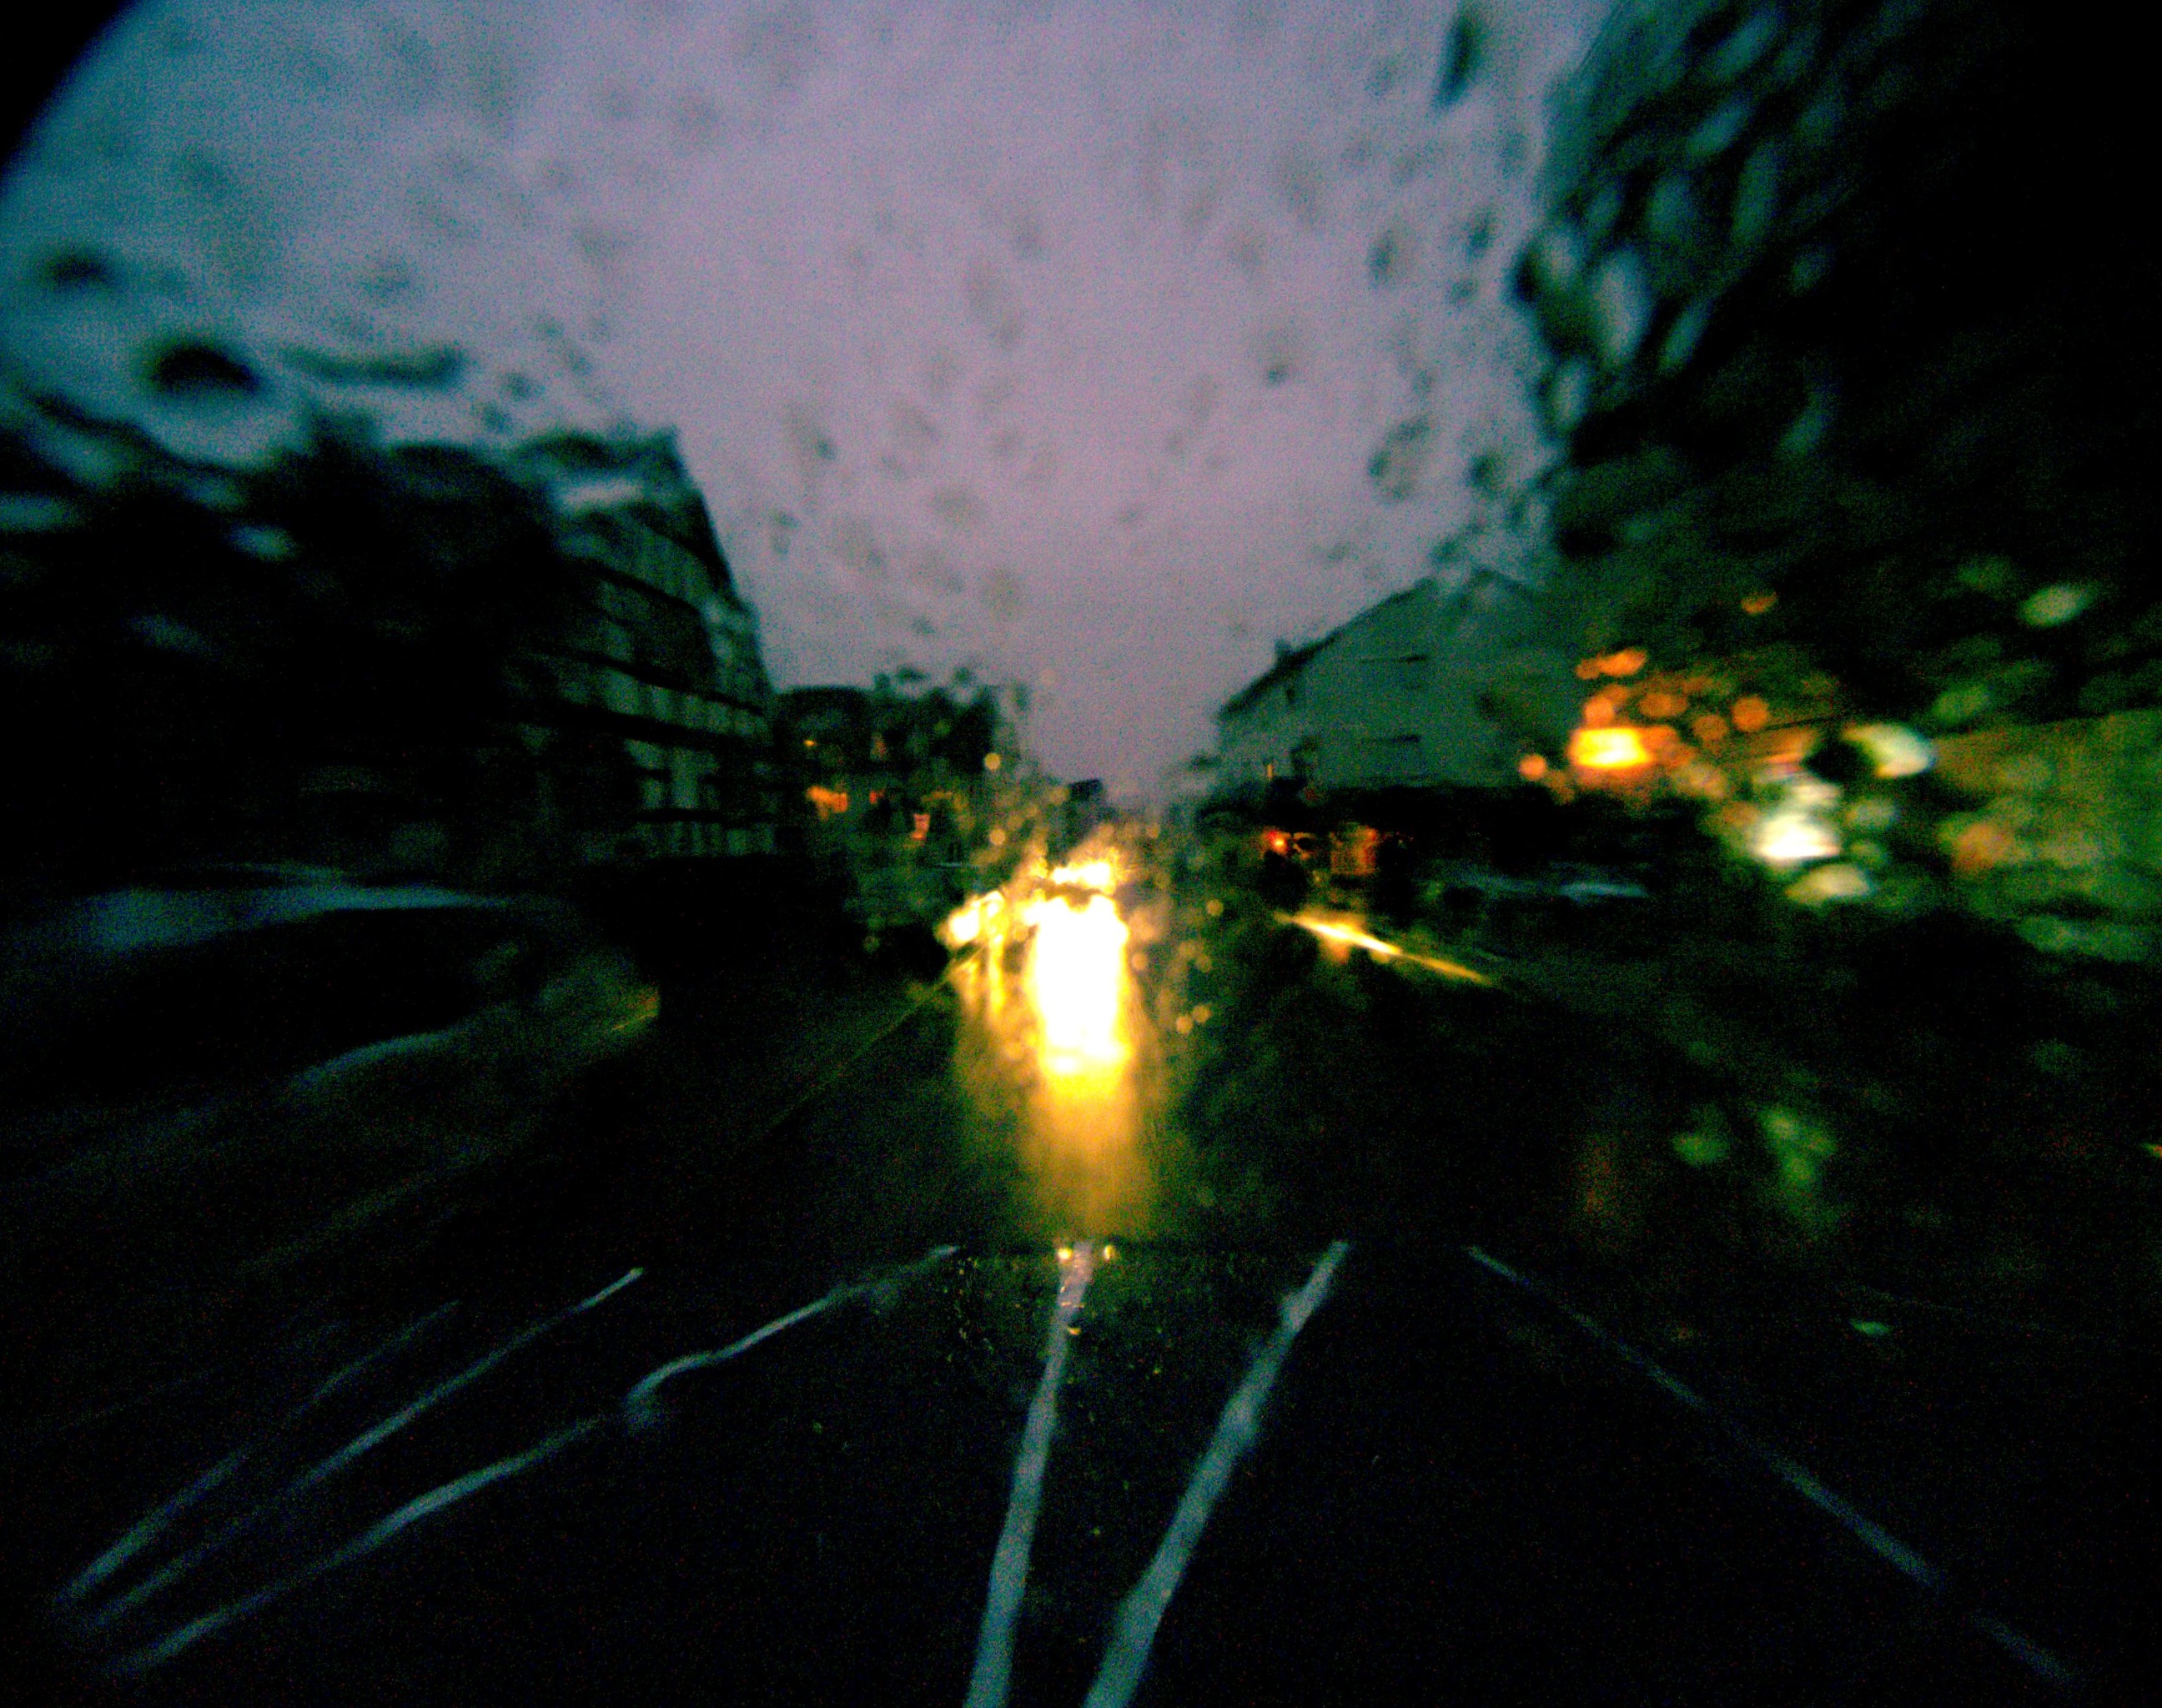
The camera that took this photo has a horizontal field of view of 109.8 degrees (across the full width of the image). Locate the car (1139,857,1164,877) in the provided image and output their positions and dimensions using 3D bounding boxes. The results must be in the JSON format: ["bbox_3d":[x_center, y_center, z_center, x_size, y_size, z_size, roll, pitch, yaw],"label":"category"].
[{"bbox_3d":[5.637,1.025,60.447,1.798,1.448,4.396,-2,0,6],"label":"car"}]

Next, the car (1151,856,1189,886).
[{"bbox_3d":[5.128,0.951,44.146,1.725,1.604,3.816,-3,0,1],"label":"car"}]

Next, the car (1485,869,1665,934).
[{"bbox_3d":[11.943,1.094,18.785,1.701,1.392,4.452,0,-1,2],"label":"car"}]

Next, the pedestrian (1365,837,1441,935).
[{"bbox_3d":[6.514,0.630,15.450,1.200,1.927,0.977,0,0,7],"label":"pedestrian"}]

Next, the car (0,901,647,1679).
[{"bbox_3d":[-3.041,0.981,1.874,1.630,1.433,3.800,2,0,2],"label":"car"}]

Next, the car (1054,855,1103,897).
[{"bbox_3d":[-0.077,0.859,31.510,1.878,1.622,4.000,-1,0,0],"label":"car"}]

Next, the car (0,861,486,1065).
[{"bbox_3d":[-7.657,0.866,6.787,3.298,1.433,1.686,2,1,-1],"label":"car"}]

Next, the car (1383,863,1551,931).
[{"bbox_3d":[9.350,1.007,18.879,1.768,1.490,4.450,0,-1,-3],"label":"car"}]

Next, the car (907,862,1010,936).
[{"bbox_3d":[-2.764,0.963,18.036,1.736,1.450,4.000,2,0,0],"label":"car"}]

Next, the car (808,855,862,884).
[{"bbox_3d":[-12.996,0.786,40.019,1.799,1.459,4.214,1,-1,-30],"label":"car"}]

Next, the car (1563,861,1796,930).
[{"bbox_3d":[14.660,0.967,19.113,2.107,1.490,5.047,0,-1,4],"label":"car"}]

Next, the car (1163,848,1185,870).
[{"bbox_3d":[12.048,0.660,98.513,2.044,2.643,4.215,-3,-1,16],"label":"car"}]

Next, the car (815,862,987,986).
[{"bbox_3d":[-2.639,0.953,12.192,1.769,1.517,4.389,2,0,-1],"label":"car"}]

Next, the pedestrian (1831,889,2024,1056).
[{"bbox_3d":[7.352,0.993,6.644,0.757,1.302,0.828,-2,1,-2],"label":"pedestrian"}]

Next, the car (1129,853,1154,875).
[{"bbox_3d":[5.581,0.917,69.635,1.883,1.888,4.838,-2,-1,9],"label":"car"}]
